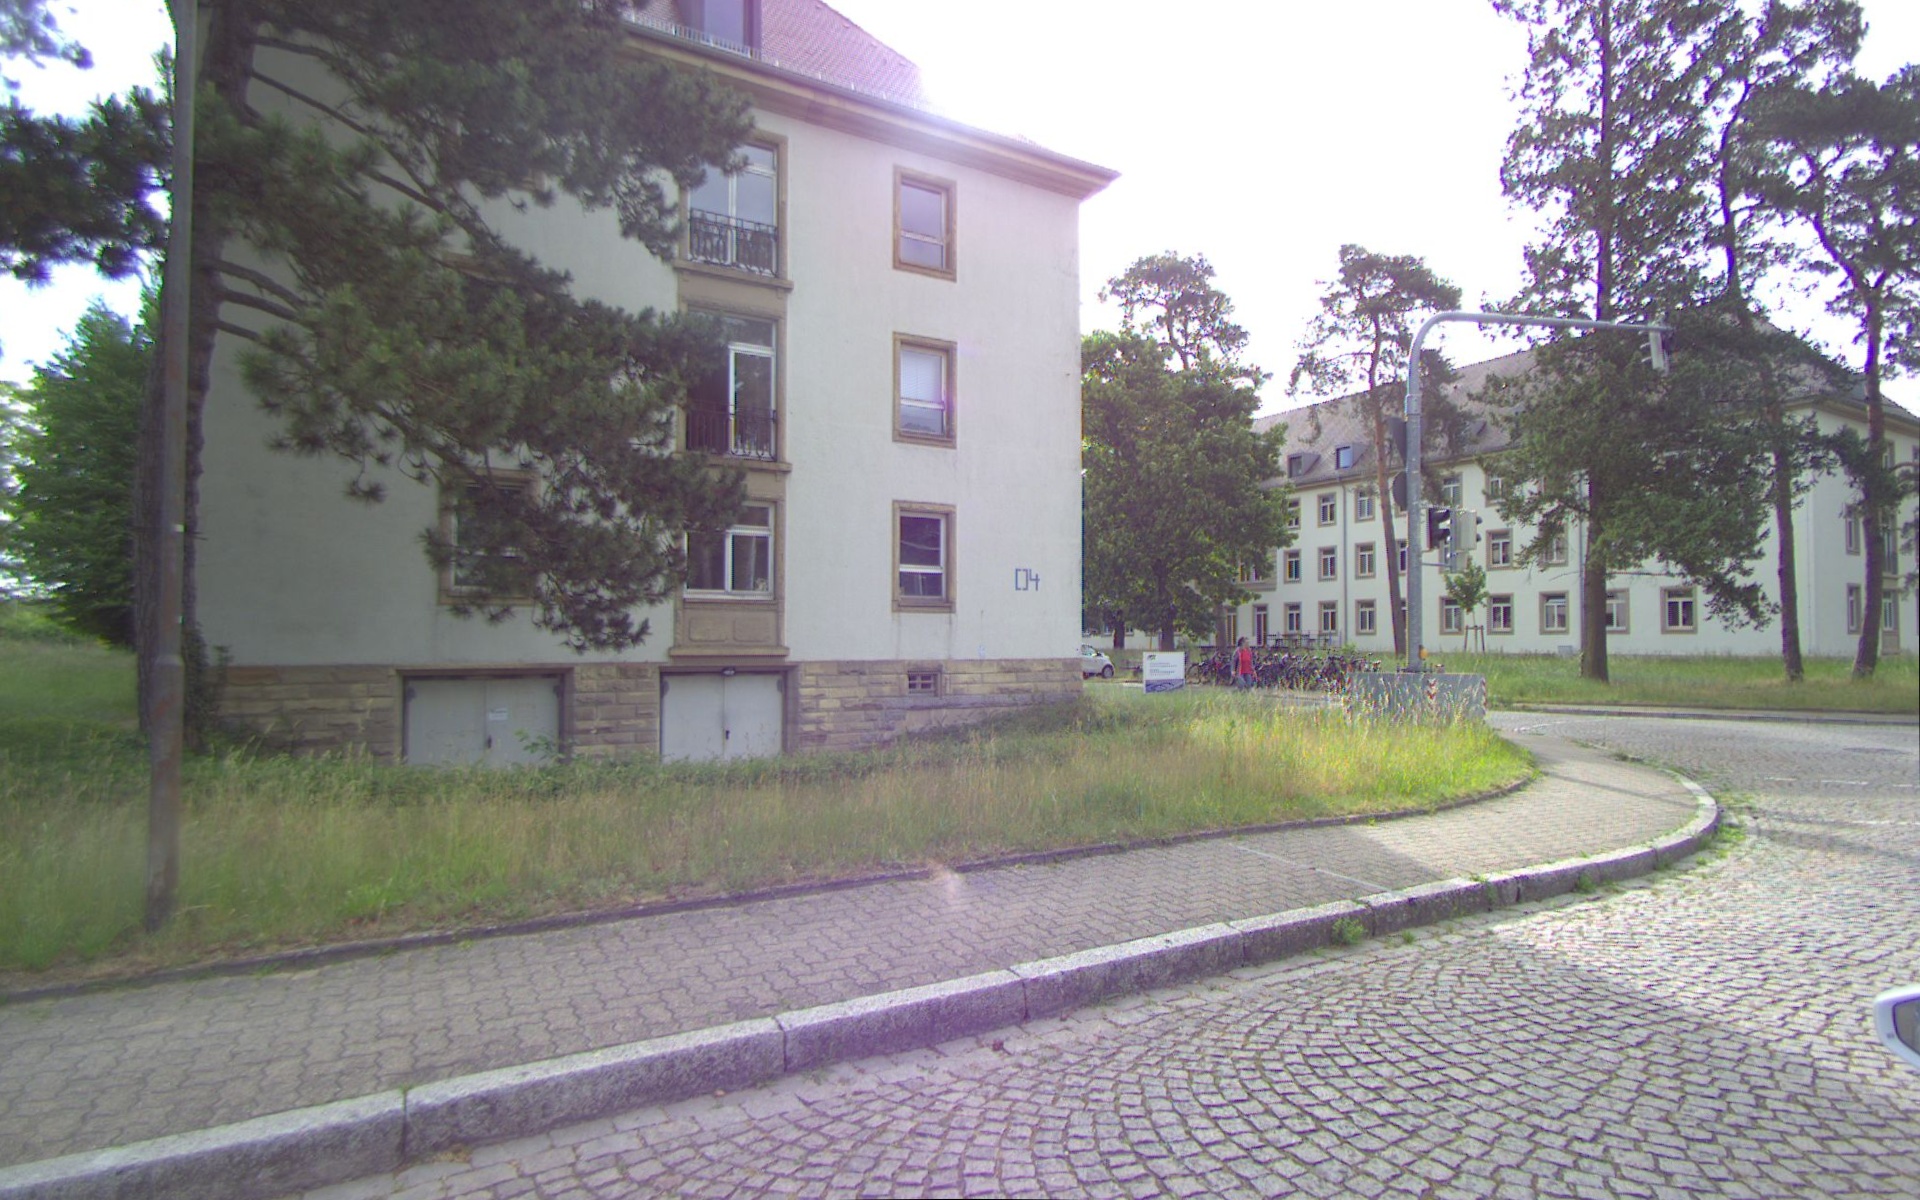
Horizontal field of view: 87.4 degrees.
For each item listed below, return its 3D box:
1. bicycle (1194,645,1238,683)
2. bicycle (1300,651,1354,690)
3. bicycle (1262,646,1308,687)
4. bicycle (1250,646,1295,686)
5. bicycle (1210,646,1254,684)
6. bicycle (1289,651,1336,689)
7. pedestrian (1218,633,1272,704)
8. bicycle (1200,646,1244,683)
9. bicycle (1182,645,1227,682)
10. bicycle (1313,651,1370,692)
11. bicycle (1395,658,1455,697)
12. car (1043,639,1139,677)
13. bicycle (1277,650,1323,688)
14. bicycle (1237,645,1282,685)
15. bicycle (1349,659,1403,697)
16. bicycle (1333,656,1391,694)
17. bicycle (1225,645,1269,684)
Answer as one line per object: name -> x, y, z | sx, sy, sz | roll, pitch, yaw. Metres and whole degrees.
bicycle -> 9.117, 2.260, 35.727 | 1.765, 1.300, 0.440 | 2, -3, -32
bicycle -> 11.488, 2.191, 31.427 | 1.909, 1.193, 0.525 | 2, -3, -32
bicycle -> 10.664, 2.162, 32.926 | 1.677, 1.300, 0.447 | 2, -3, -32
bicycle -> 10.378, 2.167, 33.342 | 1.677, 1.300, 0.447 | 2, -3, -32
bicycle -> 9.434, 2.242, 34.802 | 1.677, 1.300, 0.447 | 2, -3, -32
bicycle -> 11.185, 2.209, 31.842 | 1.677, 1.193, 0.447 | 2, -3, -32
pedestrian -> 6.904, 1.643, 24.333 | 0.928, 1.690, 0.856 | 1, -2, -29
bicycle -> 9.183, 2.247, 35.218 | 1.677, 1.300, 0.447 | 2, -3, -32
bicycle -> 8.775, 2.263, 36.061 | 1.807, 1.300, 0.447 | 2, -3, -32
bicycle -> 11.752, 2.183, 30.906 | 1.932, 1.193, 0.572 | 2, -3, -32
bicycle -> 12.464, 2.066, 26.955 | 0.447, 1.009, 1.453 | 1, -3, -29
car -> 5.676, 2.496, 43.488 | 3.851, 1.576, 1.831 | 1, -3, -30
bicycle -> 10.927, 2.202, 32.252 | 1.677, 1.193, 0.447 | 2, -3, -32
bicycle -> 10.086, 2.173, 33.766 | 1.677, 1.300, 0.447 | 2, -3, -32
bicycle -> 11.688, 2.179, 28.264 | 0.447, 1.009, 1.453 | 1, -3, -29
bicycle -> 12.163, 2.243, 30.343 | 1.974, 1.092, 0.572 | 2, -3, -32
bicycle -> 9.787, 2.180, 34.242 | 1.677, 1.300, 0.447 | 2, -3, -32
